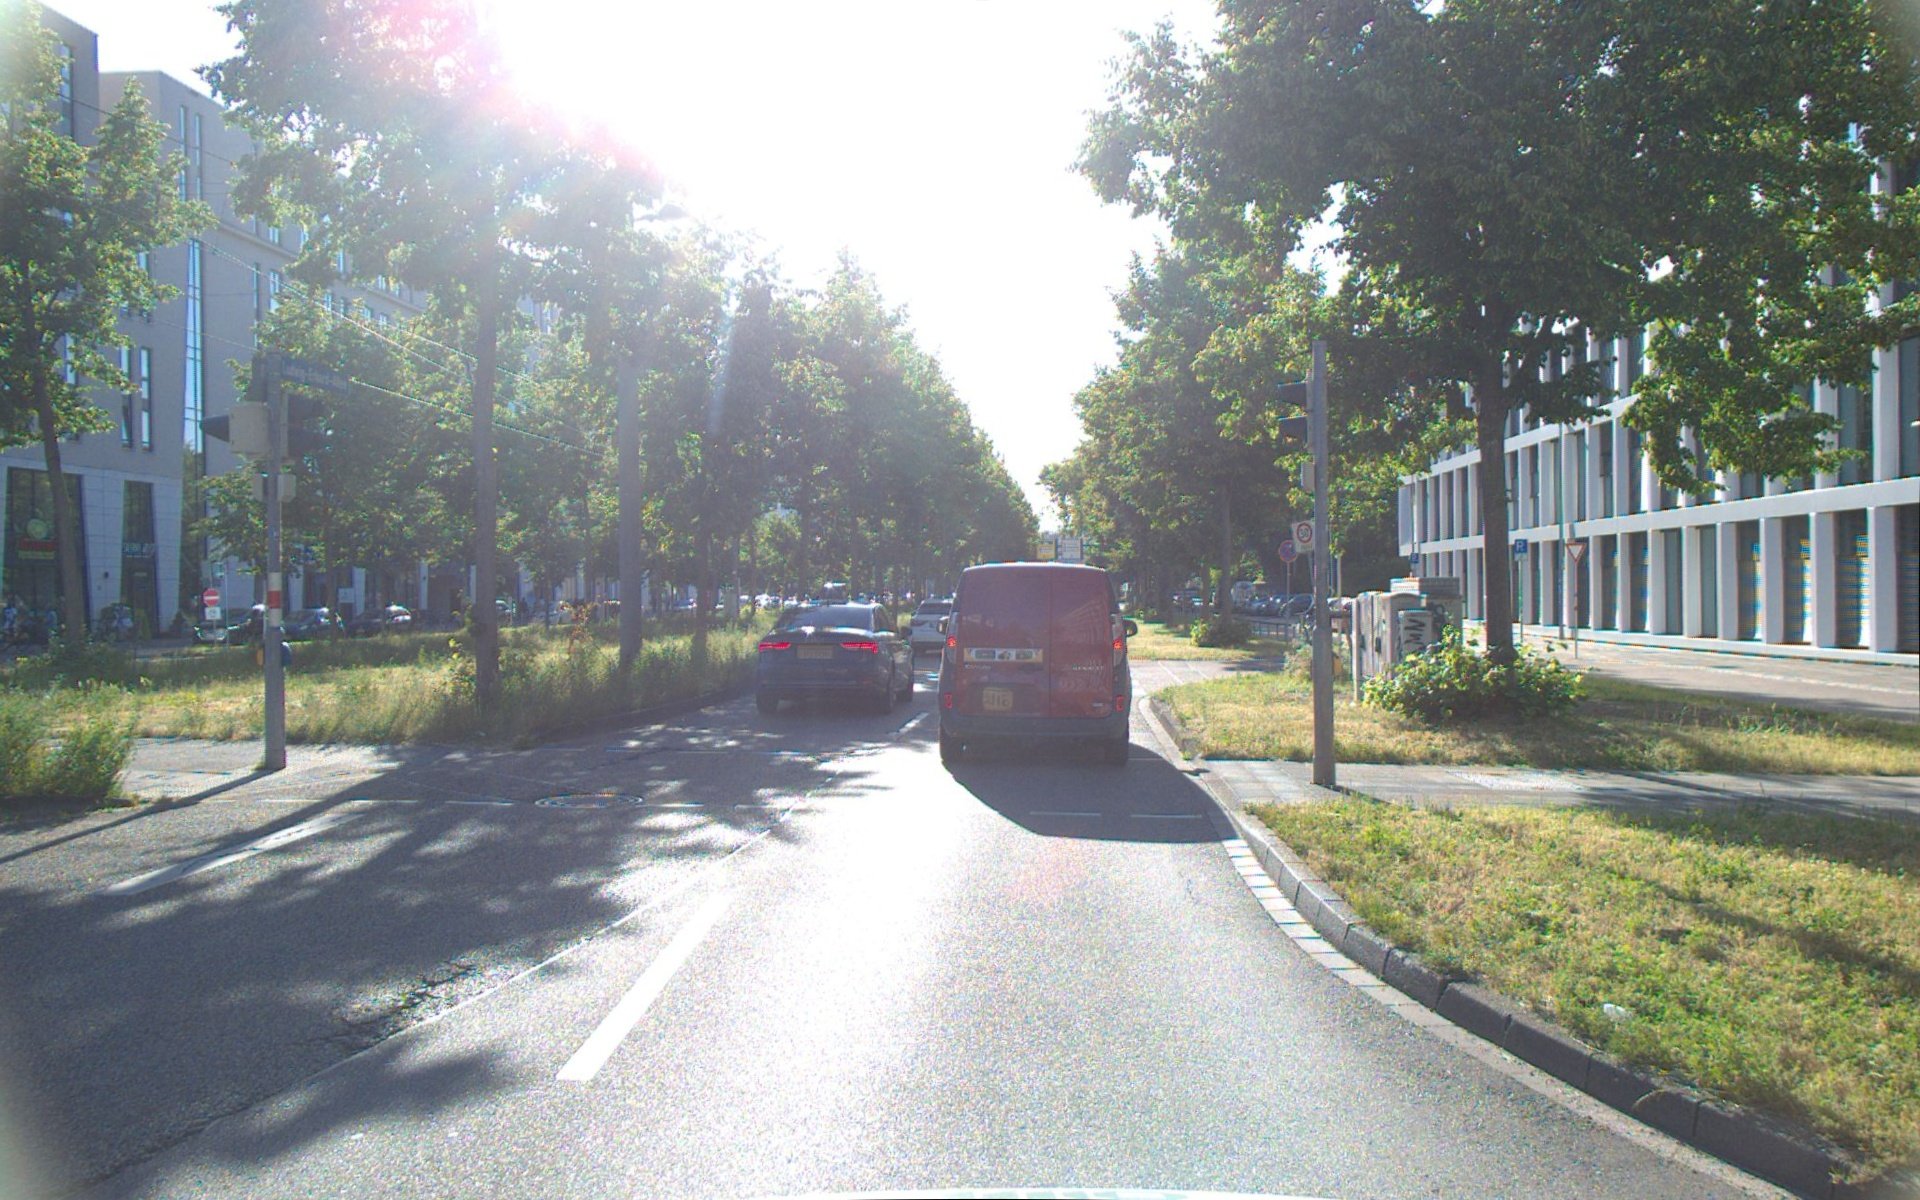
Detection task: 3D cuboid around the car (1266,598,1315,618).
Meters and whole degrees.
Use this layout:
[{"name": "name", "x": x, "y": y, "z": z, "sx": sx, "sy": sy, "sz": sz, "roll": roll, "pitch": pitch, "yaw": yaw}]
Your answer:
[{"name": "car", "x": 22.752, "y": 0.543, "z": 113.914, "sx": 3.326, "sy": 1.382, "sz": 1.472, "roll": -1, "pitch": 0, "yaw": 11}]

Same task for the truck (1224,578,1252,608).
[{"name": "truck", "x": 24.468, "y": -0.585, "z": 145.567, "sx": 1.793, "sy": 2.544, "sz": 5.935, "roll": 0, "pitch": 0, "yaw": 4}]

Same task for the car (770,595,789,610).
[{"name": "car", "x": -22.874, "y": 0.314, "z": 209.223, "sx": 1.696, "sy": 1.803, "sz": 4.002, "roll": -1, "pitch": 0, "yaw": 4}]

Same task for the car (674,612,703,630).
[{"name": "car", "x": -21.828, "y": 1.703, "z": 133.029, "sx": 1.547, "sy": 1.366, "sz": 3.714, "roll": -1, "pitch": 0, "yaw": 4}]

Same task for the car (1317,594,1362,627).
[{"name": "car", "x": 18.268, "y": 0.491, "z": 79.813, "sx": 1.780, "sy": 1.559, "sz": 3.440, "roll": -1, "pitch": 0, "yaw": 8}]

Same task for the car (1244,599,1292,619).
[{"name": "car", "x": 22.117, "y": 0.645, "z": 118.797, "sx": 3.326, "sy": 1.382, "sz": 1.472, "roll": -1, "pitch": 0, "yaw": 11}]

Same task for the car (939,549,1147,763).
[{"name": "car", "x": 0.737, "y": 0.492, "z": 16.332, "sx": 1.771, "sy": 1.826, "sz": 4.113, "roll": -1, "pitch": 0, "yaw": 1}]

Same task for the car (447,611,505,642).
[{"name": "car", "x": -25.438, "y": 1.392, "z": 87.050, "sx": 1.738, "sy": 1.555, "sz": 3.808, "roll": -1, "pitch": 0, "yaw": 4}]

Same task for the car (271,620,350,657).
[{"name": "car", "x": -26.481, "y": 1.552, "z": 67.542, "sx": 1.547, "sy": 1.366, "sz": 3.714, "roll": -1, "pitch": 0, "yaw": 4}]

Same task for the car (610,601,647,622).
[{"name": "car", "x": -22.510, "y": 0.776, "z": 112.280, "sx": 1.547, "sy": 1.366, "sz": 3.714, "roll": -1, "pitch": 0, "yaw": 4}]

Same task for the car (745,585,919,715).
[{"name": "car", "x": -1.595, "y": 0.585, "z": 21.993, "sx": 1.770, "sy": 1.554, "sz": 4.114, "roll": -1, "pitch": 0, "yaw": 3}]

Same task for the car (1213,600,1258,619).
[{"name": "car", "x": 20.979, "y": 0.693, "z": 125.812, "sx": 3.326, "sy": 1.382, "sz": 1.472, "roll": -1, "pitch": 0, "yaw": 11}]

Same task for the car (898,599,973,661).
[{"name": "car", "x": -0.586, "y": 0.727, "z": 42.383, "sx": 1.771, "sy": 1.459, "sz": 4.113, "roll": -1, "pitch": 0, "yaw": 1}]

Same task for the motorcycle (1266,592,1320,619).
[{"name": "motorcycle", "x": 21.396, "y": 0.371, "z": 106.369, "sx": 3.326, "sy": 1.692, "sz": 1.472, "roll": -1, "pitch": 0, "yaw": 11}]

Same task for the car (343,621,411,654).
[{"name": "car", "x": -26.182, "y": 1.677, "z": 74.384, "sx": 1.547, "sy": 1.366, "sz": 3.714, "roll": -1, "pitch": 0, "yaw": 4}]

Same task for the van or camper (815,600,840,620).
[{"name": "van or camper", "x": -12.111, "y": 0.933, "z": 151.510, "sx": 1.782, "sy": 1.768, "sz": 3.714, "roll": -1, "pitch": 0, "yaw": 4}]

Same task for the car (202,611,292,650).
[{"name": "car", "x": -26.563, "y": 1.129, "z": 61.724, "sx": 1.547, "sy": 1.366, "sz": 3.714, "roll": -1, "pitch": 0, "yaw": 4}]

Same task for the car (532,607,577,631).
[{"name": "car", "x": -24.455, "y": 1.131, "z": 99.827, "sx": 1.547, "sy": 1.366, "sz": 3.714, "roll": -1, "pitch": 0, "yaw": 4}]

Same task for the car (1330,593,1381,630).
[{"name": "car", "x": 17.910, "y": 0.504, "z": 74.994, "sx": 1.721, "sy": 1.640, "sz": 3.906, "roll": 0, "pitch": 0, "yaw": 6}]
